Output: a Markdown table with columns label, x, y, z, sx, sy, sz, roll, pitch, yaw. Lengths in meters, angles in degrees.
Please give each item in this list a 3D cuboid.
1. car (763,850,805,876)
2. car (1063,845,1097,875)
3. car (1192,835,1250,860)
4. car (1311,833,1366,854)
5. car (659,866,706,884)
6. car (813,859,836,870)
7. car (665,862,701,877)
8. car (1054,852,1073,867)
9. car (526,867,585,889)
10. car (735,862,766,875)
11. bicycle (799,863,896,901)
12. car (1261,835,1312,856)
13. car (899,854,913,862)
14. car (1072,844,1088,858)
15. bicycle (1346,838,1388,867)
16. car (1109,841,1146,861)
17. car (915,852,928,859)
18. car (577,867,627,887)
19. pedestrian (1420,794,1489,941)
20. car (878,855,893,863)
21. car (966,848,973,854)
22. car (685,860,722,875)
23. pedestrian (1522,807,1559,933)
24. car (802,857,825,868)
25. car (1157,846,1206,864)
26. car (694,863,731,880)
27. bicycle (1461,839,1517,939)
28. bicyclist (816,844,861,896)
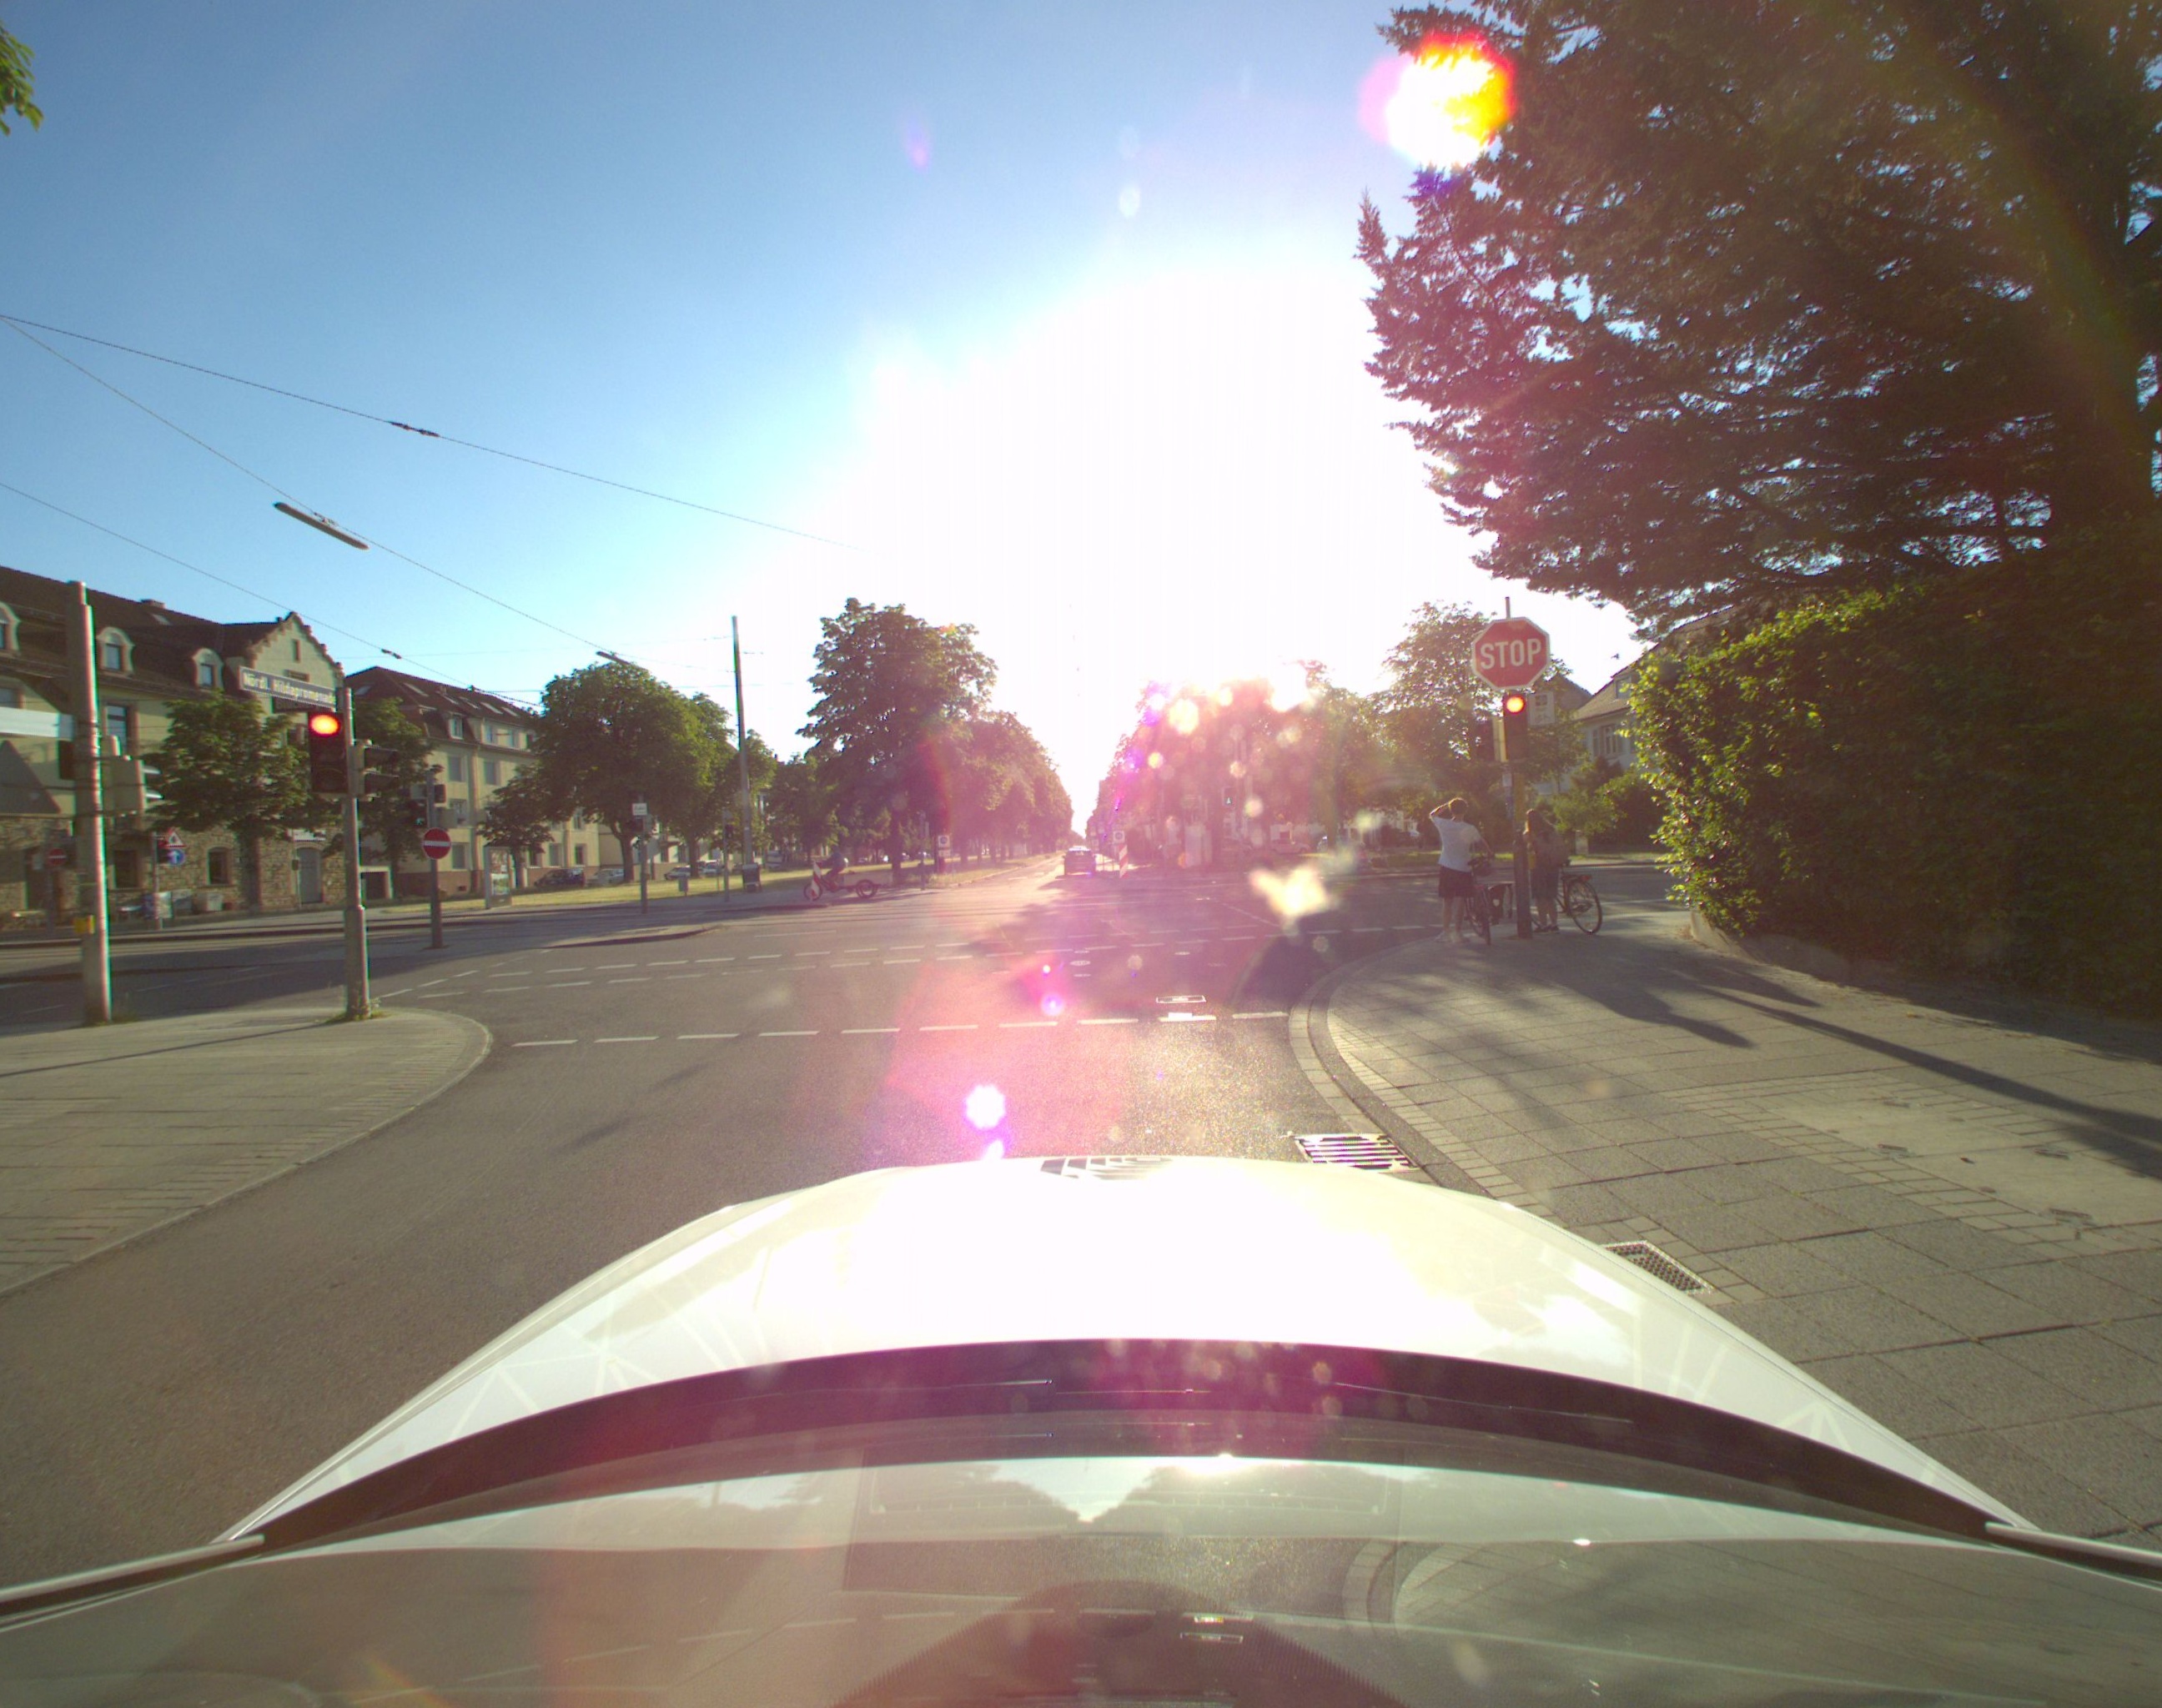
| label | x | y | z | sx | sy | sz | roll | pitch | yaw |
| --- | --- | --- | --- | --- | --- | --- | --- | --- | --- |
| car | -37.159 | 1.063 | 102.229 | 2.384 | 3.131 | 7.853 | 0 | 0 | 0 |
| car | 0.012 | 0.335 | 44.730 | 1.719 | 1.511 | 4.542 | 0 | 0 | 2 |
| car | 11.232 | -0.512 | 65.461 | 4.228 | 1.875 | 2.030 | -2 | -1 | -1 |
| car | 20.763 | -0.832 | 65.610 | 3.915 | 1.524 | 1.521 | -1 | -1 | -5 |
| car | -37.463 | 1.947 | 76.679 | 1.986 | 1.659 | 4.572 | 0 | -1 | 2 |
| car | -37.102 | 1.501 | 117.734 | 1.873 | 1.674 | 4.315 | 0 | 0 | 1 |
| car | -42.707 | 1.648 | 87.398 | 1.709 | 1.633 | 4.192 | 0 | -1 | 2 |
| car | -1.700 | 0.560 | 78.476 | 1.704 | 1.359 | 4.202 | 0 | 0 | 0 |
| car | -43.277 | 1.959 | 67.172 | 1.986 | 1.736 | 4.313 | 0 | -1 | 2 |
| car | -42.173 | 1.822 | 103.904 | 1.986 | 1.659 | 4.572 | 0 | -1 | 2 |
| bicycle | -8.085 | 0.966 | 28.302 | 3.059 | 1.161 | 0.876 | -3 | -1 | 4 |
| car | 16.369 | -0.684 | 65.027 | 3.548 | 1.516 | 1.602 | -2 | 0 | -6 |
| car | -36.307 | 0.880 | 168.677 | 2.016 | 1.659 | 3.984 | 0 | -1 | 1 |
| car | -0.143 | -0.409 | 103.948 | 1.987 | 1.781 | 3.999 | 0 | 1 | -1 |
| bicycle | 11.536 | -0.054 | 32.876 | 1.513 | 1.089 | 0.469 | -2 | 2 | 9 |
| car | 5.359 | -0.335 | 93.558 | 3.980 | 1.822 | 1.757 | -3 | -5 | -5 |
| car | -36.871 | 0.315 | 188.370 | 1.987 | 1.658 | 4.570 | -2 | 0 | 0 |
| car | -43.144 | 2.036 | 73.432 | 1.986 | 1.659 | 4.001 | 0 | -1 | 2 |
| pedestrian | 5.010 | 0.170 | 10.965 | 0.622 | 1.866 | 0.778 | -6 | -1 | 20 |
| car | -41.772 | 0.984 | 173.909 | 1.986 | 1.659 | 4.357 | 0 | -1 | 2 |
| car | -34.932 | -0.992 | 255.171 | 1.649 | 1.938 | 3.566 | 0 | -2 | -1 |
| car | -43.570 | 1.579 | 94.046 | 1.986 | 1.659 | 4.572 | 0 | -1 | 2 |
| pedestrian | 5.959 | 0.205 | 10.579 | 0.346 | 1.585 | 0.465 | -1 | -1 | 23 |
| car | -41.967 | 1.324 | 127.916 | 1.986 | 1.659 | 4.376 | 0 | -1 | 2 |
| car | 8.718 | 0.101 | 70.804 | 3.975 | 1.447 | 1.715 | -2 | -1 | -1 |
| car | -37.345 | 1.732 | 82.710 | 1.791 | 1.554 | 4.417 | 0 | 1 | -2 |
| bicycle | 5.262 | 0.397 | 10.562 | 0.567 | 1.184 | 1.916 | 0 | 1 | 24 |
| bicyclist | -8.427 | 0.563 | 28.334 | 1.139 | 1.723 | 0.876 | -3 | -1 | 4 |
